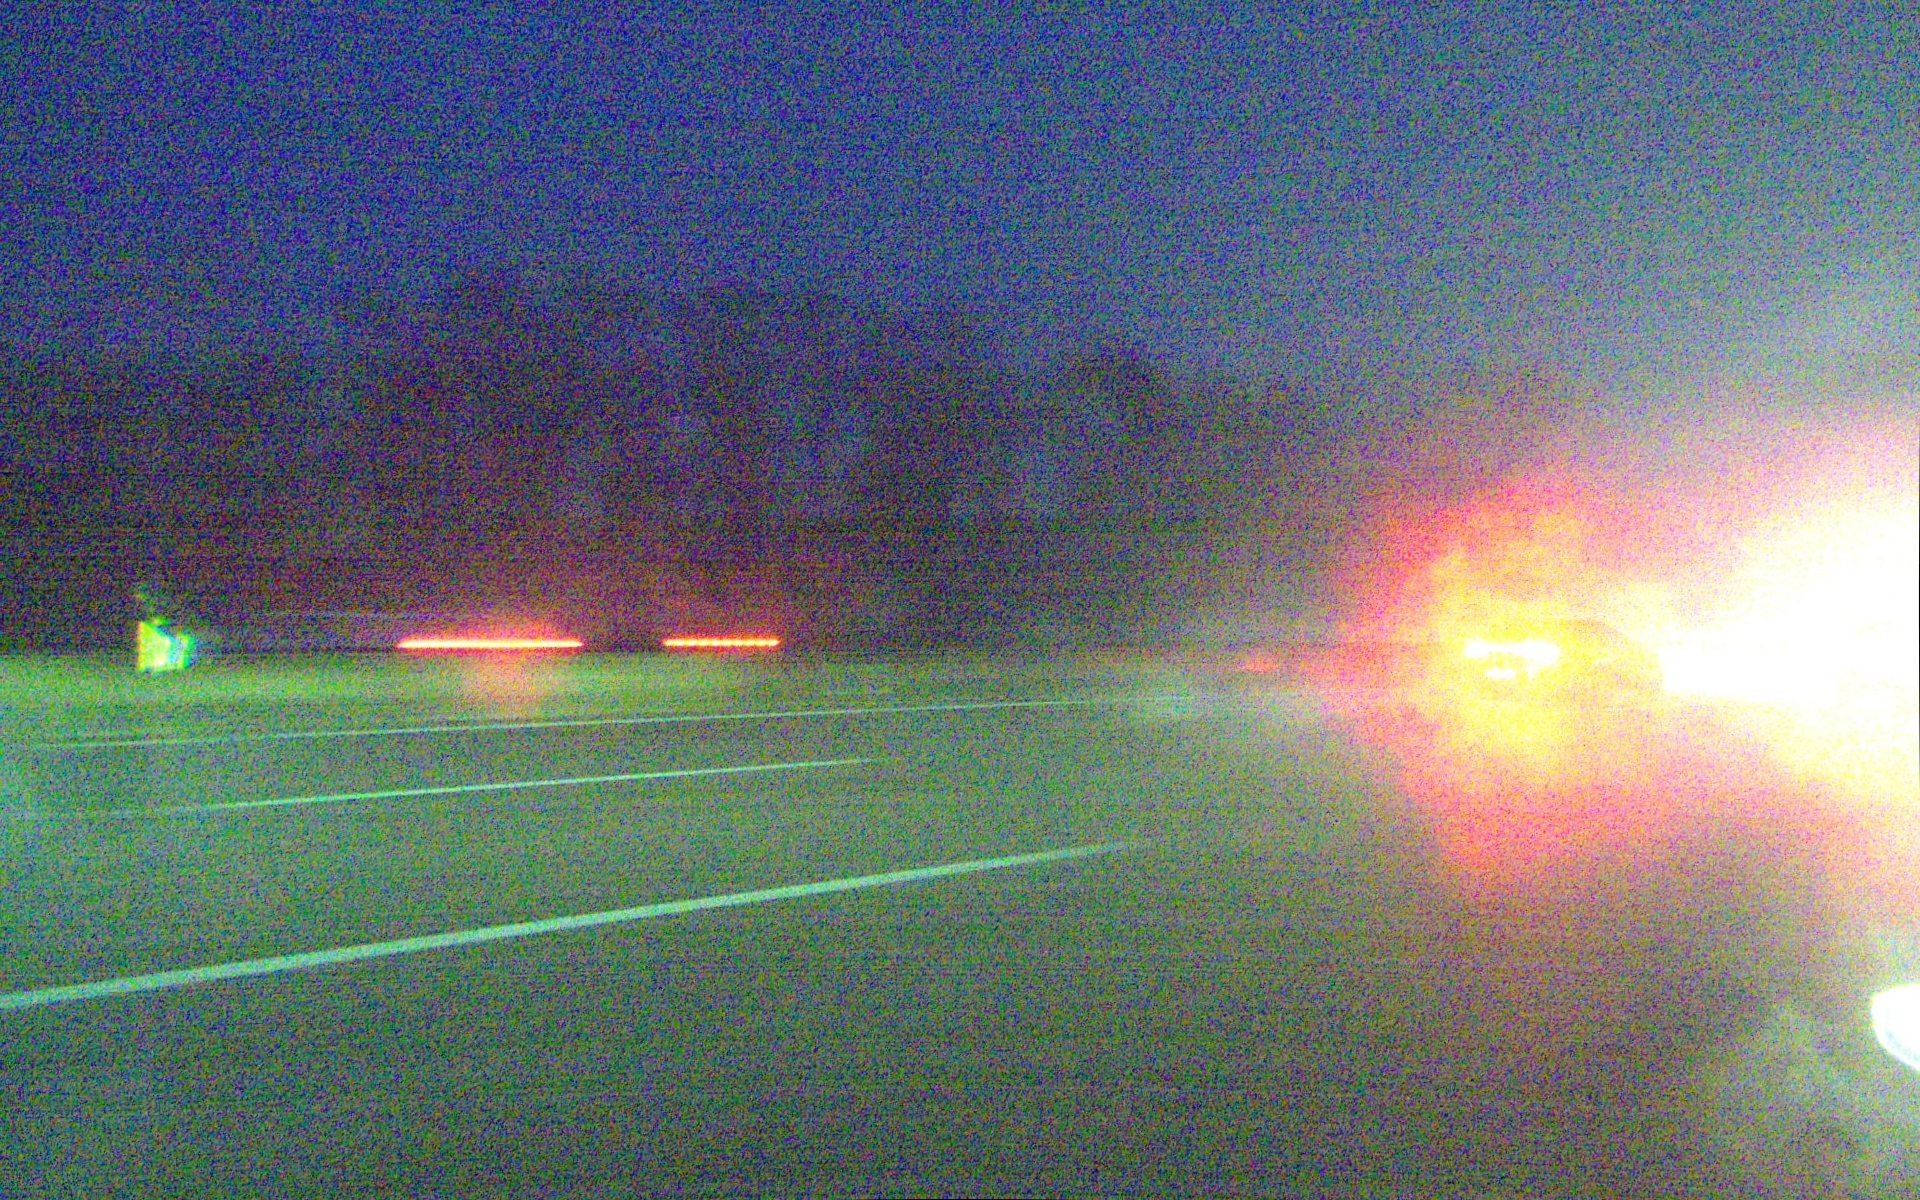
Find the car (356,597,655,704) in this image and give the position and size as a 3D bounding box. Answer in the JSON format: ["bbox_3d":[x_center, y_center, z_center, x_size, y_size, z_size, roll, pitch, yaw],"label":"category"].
[{"bbox_3d":[-7.894,0.834,17.617,4.567,1.639,1.886,2,0,-31],"label":"car"}]

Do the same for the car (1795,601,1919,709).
[{"bbox_3d":[17.542,0.977,18.657,4.471,1.785,2.025,1,0,-35],"label":"car"}]

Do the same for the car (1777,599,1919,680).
[{"bbox_3d":[25.950,1.083,28.979,5.569,2.132,2.110,1,0,-34],"label":"car"}]

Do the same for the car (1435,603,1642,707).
[{"bbox_3d":[10.715,0.930,18.534,3.958,1.712,1.755,0,0,-34],"label":"car"}]
